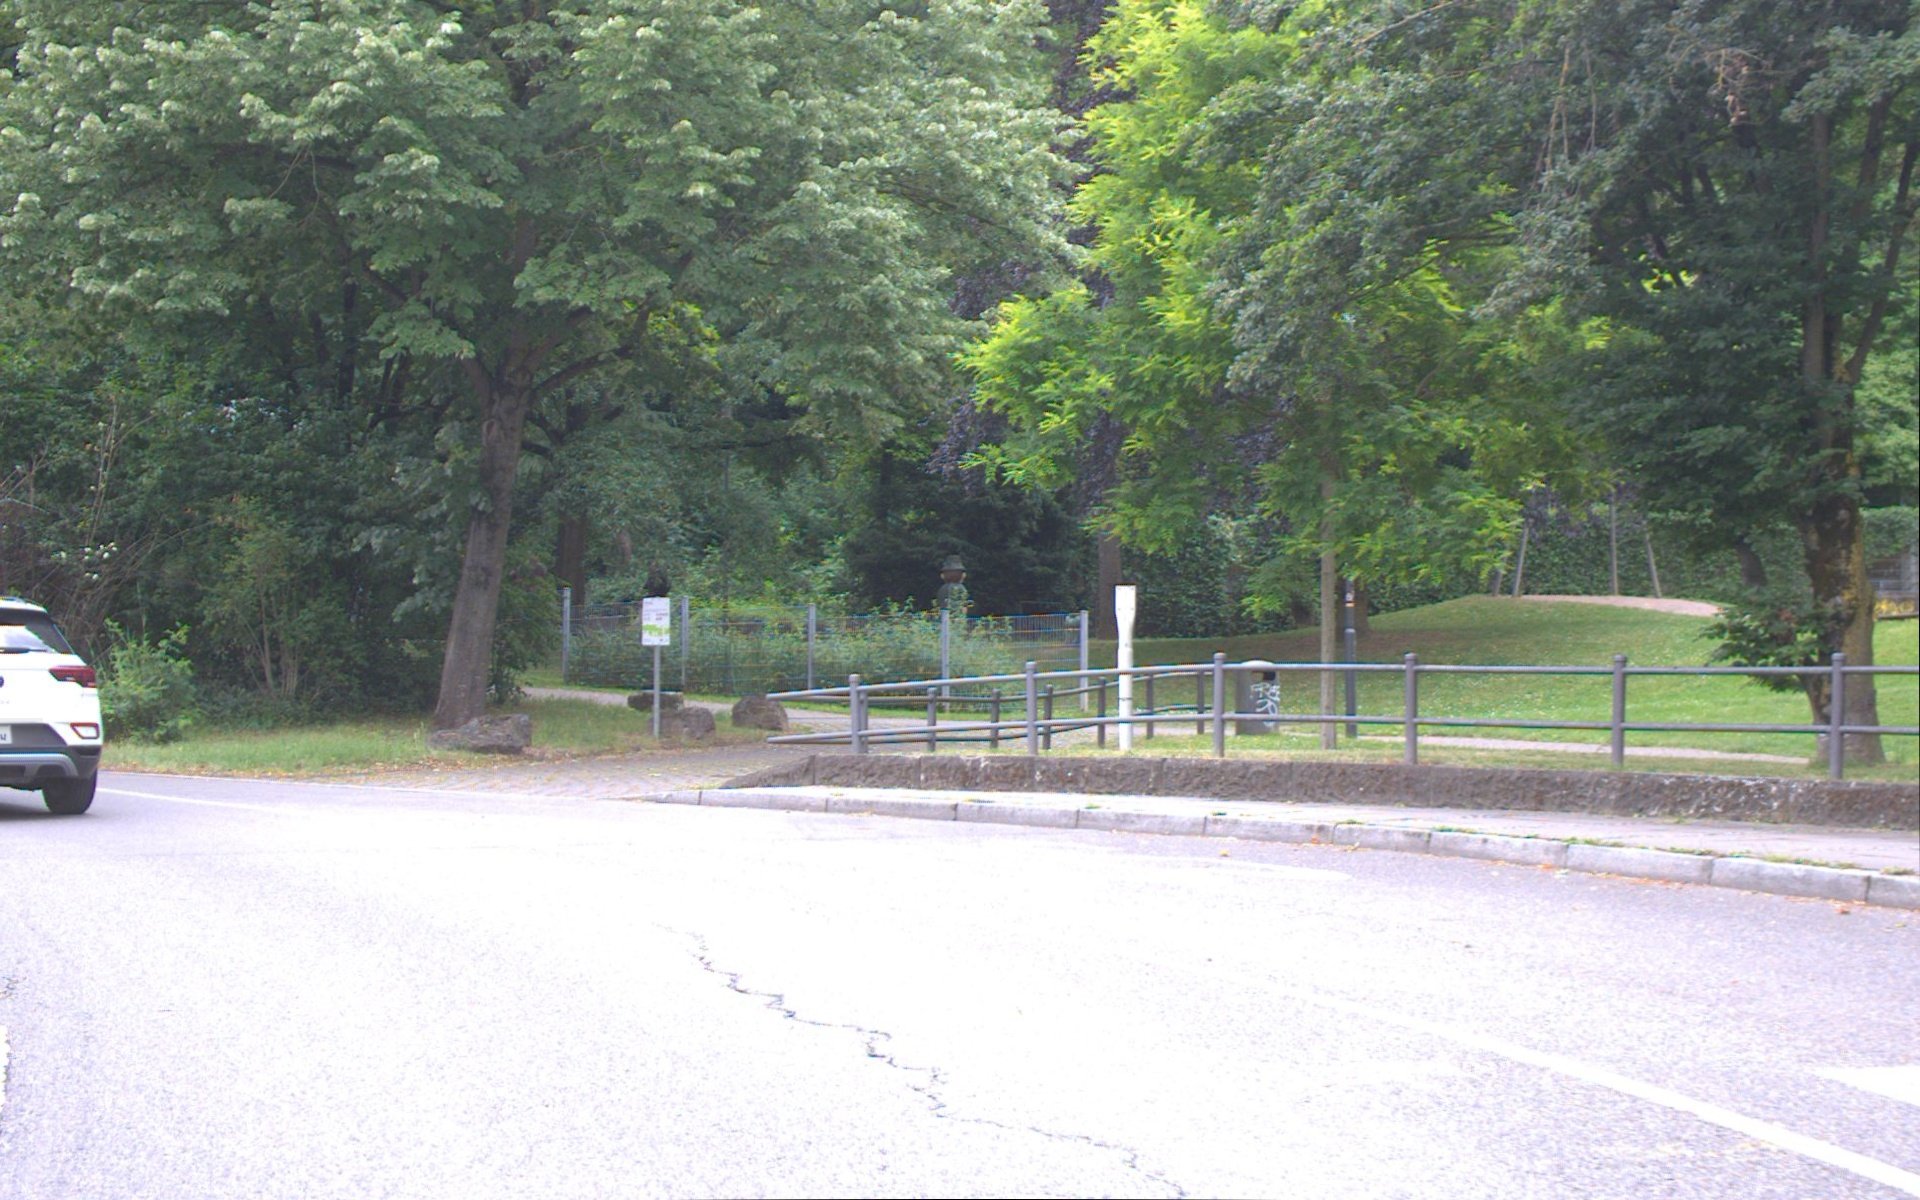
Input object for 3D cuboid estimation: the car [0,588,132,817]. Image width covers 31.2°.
[{"bbox_3d":[-7.573,0.712,24.916,1.865,1.551,3.894,0,0,-33],"label":"car"}]
